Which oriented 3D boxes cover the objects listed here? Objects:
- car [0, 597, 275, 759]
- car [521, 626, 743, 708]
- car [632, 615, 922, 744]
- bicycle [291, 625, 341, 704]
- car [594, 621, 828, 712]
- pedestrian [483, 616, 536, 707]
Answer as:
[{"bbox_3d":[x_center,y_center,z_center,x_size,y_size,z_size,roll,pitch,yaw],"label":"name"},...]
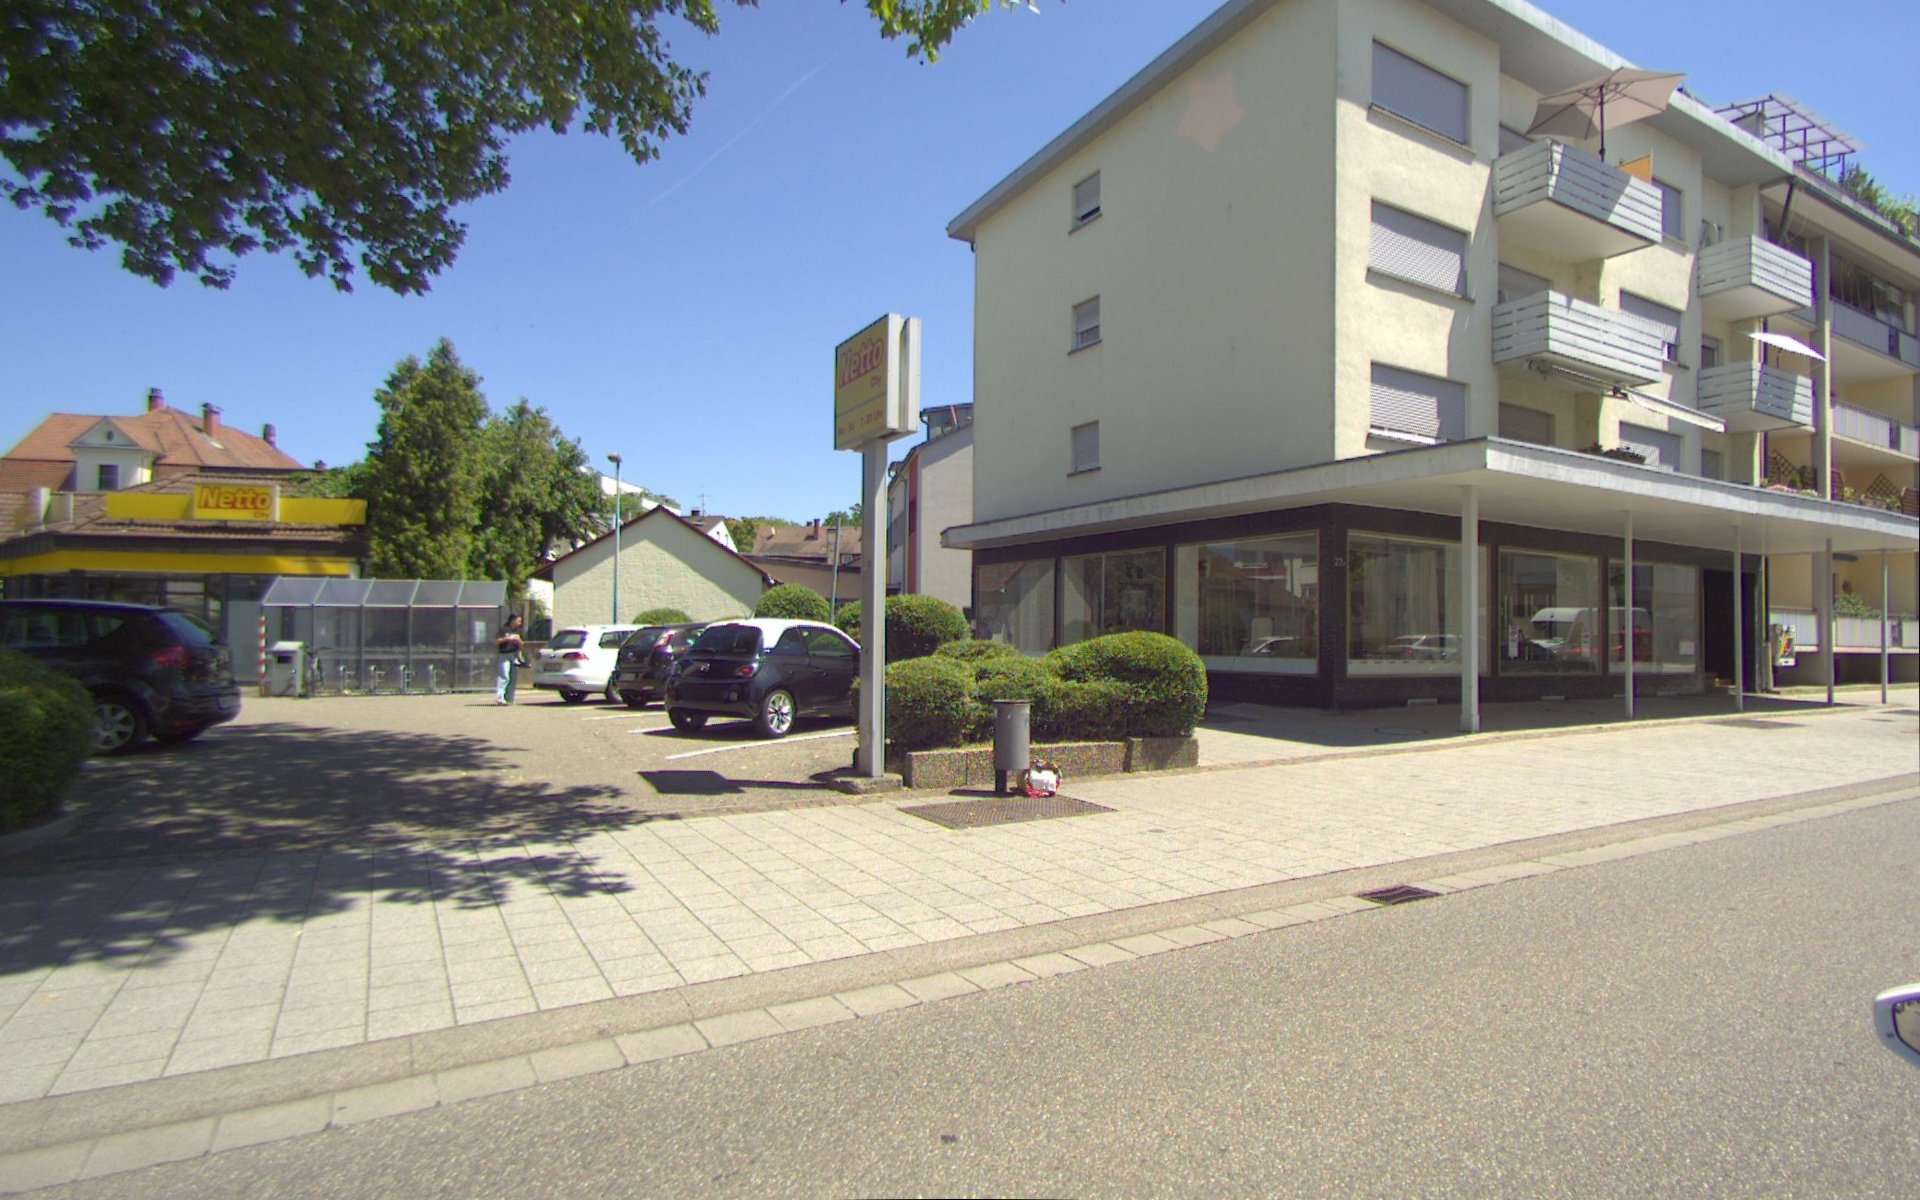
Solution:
[{"bbox_3d":[-9.840,0.785,10.482,4.040,1.565,1.806,1,-2,-18],"label":"car"},{"bbox_3d":[-6.408,1.292,20.039,1.746,1.453,4.026,-3,-3,33],"label":"car"},{"bbox_3d":[-2.354,1.006,13.963,1.863,1.506,3.990,-1,-2,29],"label":"car"},{"bbox_3d":[-13.889,1.368,21.692,0.577,1.579,1.642,2,0,-22],"label":"bicycle"},{"bbox_3d":[-4.480,1.179,18.491,1.726,1.481,3.909,-3,-4,42],"label":"car"},{"bbox_3d":[-8.373,1.132,18.670,0.713,1.648,0.677,2,-2,-42],"label":"pedestrian"}]
